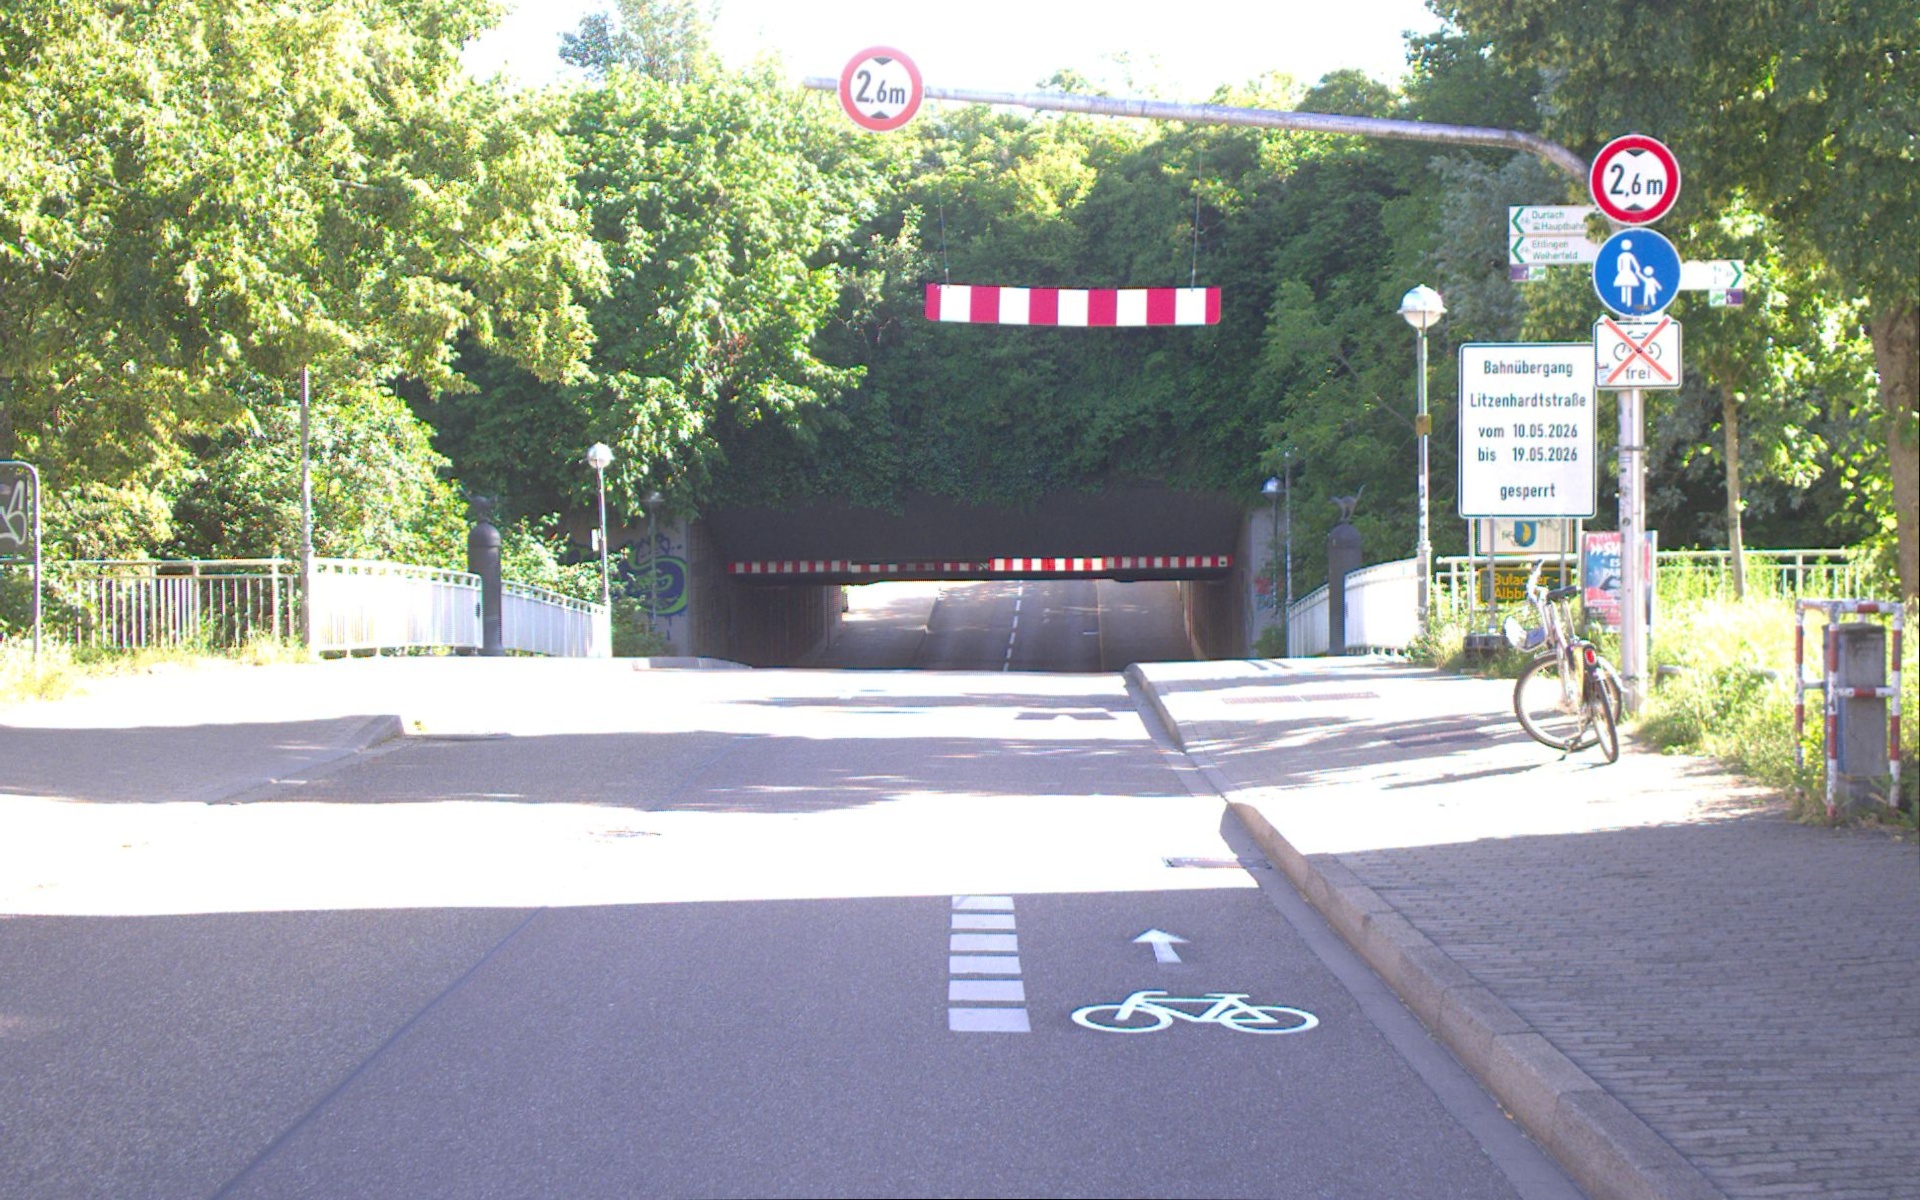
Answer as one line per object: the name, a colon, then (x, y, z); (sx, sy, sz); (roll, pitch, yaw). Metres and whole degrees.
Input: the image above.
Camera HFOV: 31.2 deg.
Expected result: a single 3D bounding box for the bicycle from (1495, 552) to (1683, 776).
bicycle: (3.614, 0.345, 19.865); (0.688, 1.153, 1.539); (-6, 2, 0)
